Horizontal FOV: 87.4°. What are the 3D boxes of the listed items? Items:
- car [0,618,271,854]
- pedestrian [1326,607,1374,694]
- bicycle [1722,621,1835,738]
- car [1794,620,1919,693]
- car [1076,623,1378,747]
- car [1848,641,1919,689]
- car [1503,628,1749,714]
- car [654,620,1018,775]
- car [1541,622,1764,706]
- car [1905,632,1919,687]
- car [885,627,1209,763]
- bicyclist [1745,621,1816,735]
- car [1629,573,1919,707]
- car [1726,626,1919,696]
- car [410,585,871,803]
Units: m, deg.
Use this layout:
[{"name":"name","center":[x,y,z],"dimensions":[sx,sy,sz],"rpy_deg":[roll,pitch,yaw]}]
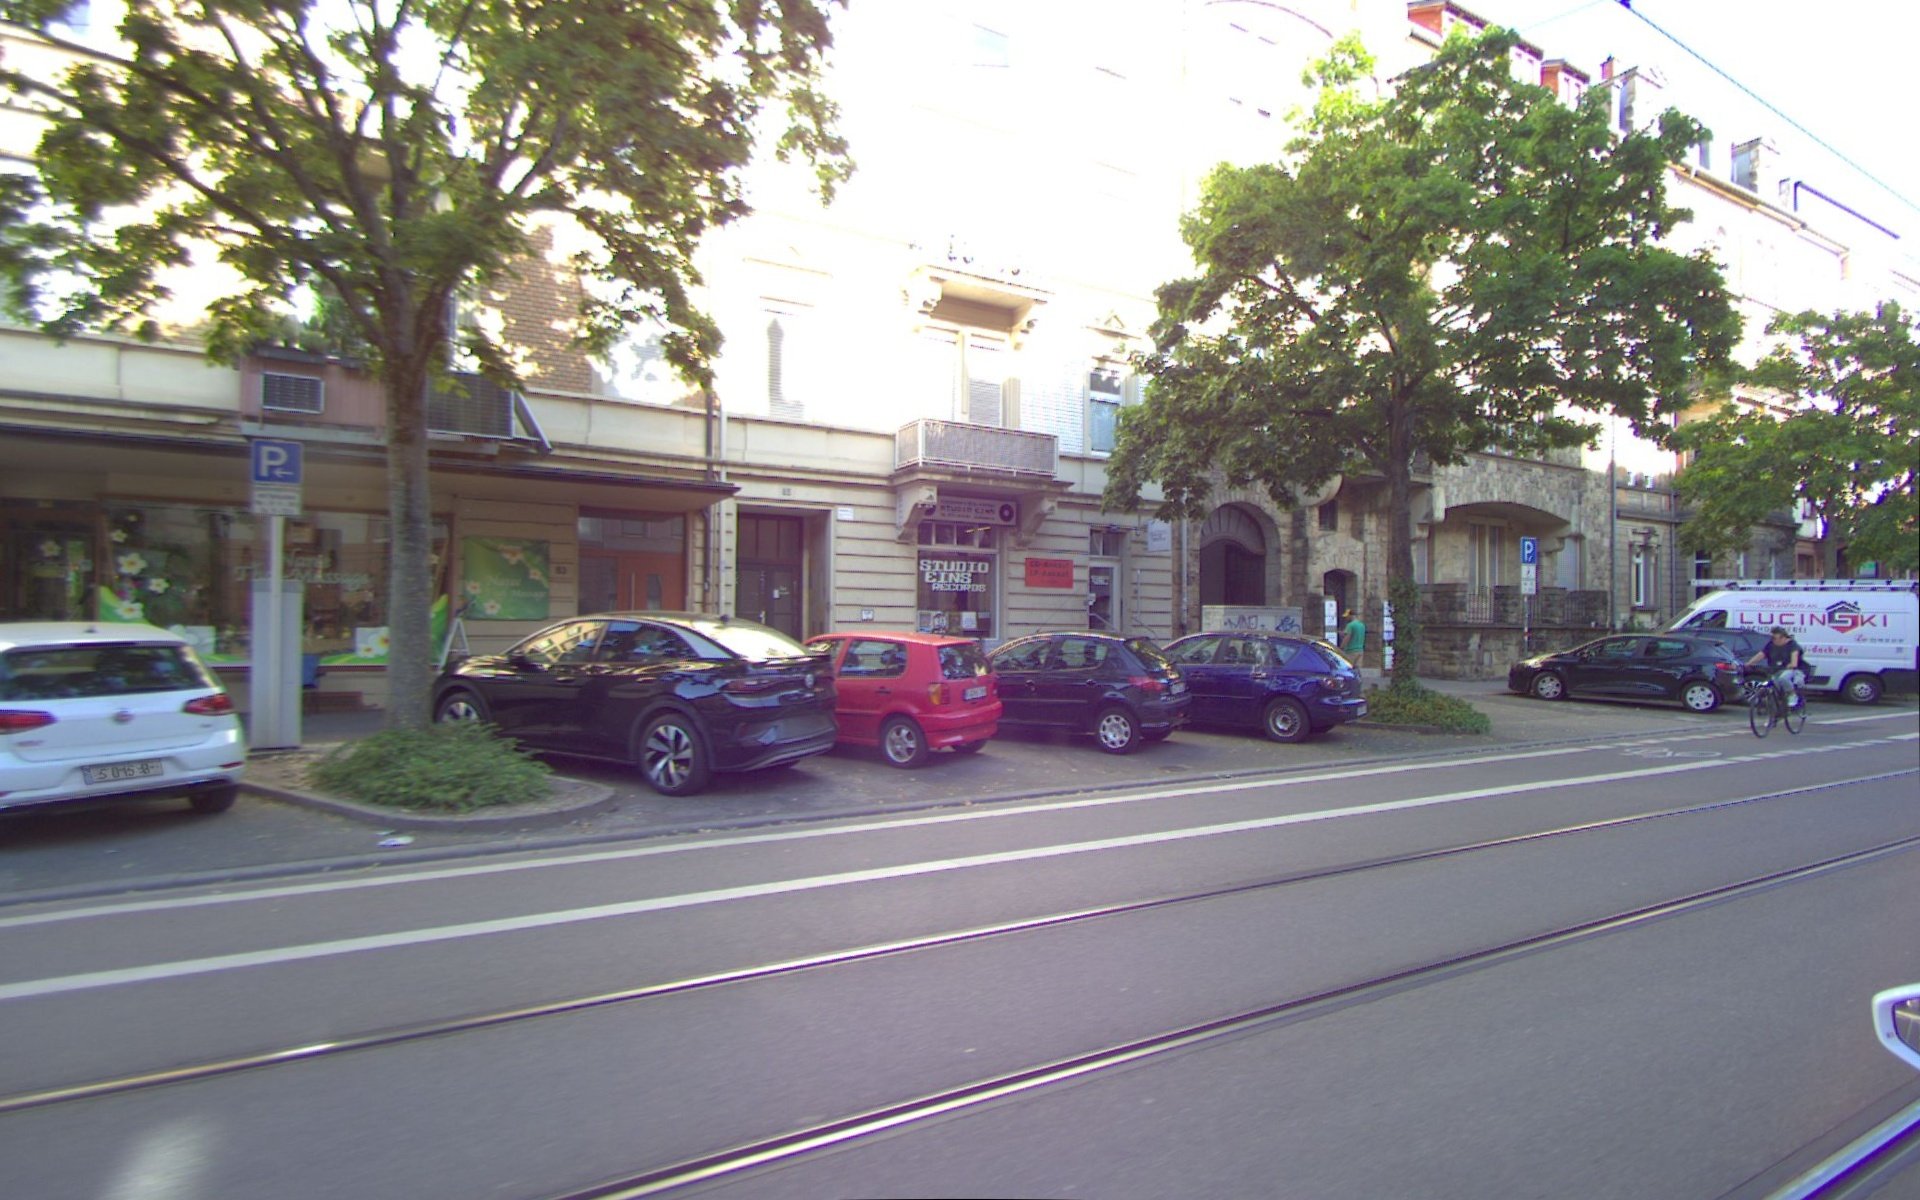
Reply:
[{"name":"car","center":[-7.282,0.894,7.957],"dimensions":[3.780,1.448,1.761],"rpy_deg":[0,-1,35]},{"name":"pedestrian","center":[8.084,1.038,20.814],"dimensions":[0.753,1.749,0.575],"rpy_deg":[1,-1,-31]},{"name":"bicycle","center":[12.630,1.196,15.480],"dimensions":[2.072,1.701,0.677],"rpy_deg":[2,-1,-30]},{"name":"car","center":[24.926,1.503,26.807],"dimensions":[3.934,1.841,1.707],"rpy_deg":[0,-1,35]},{"name":"car","center":[3.869,1.139,14.726],"dimensions":[3.931,1.509,1.802],"rpy_deg":[0,-1,33]},{"name":"car","center":[27.687,1.866,28.351],"dimensions":[3.746,1.282,1.512],"rpy_deg":[0,-1,35]},{"name":"car","center":[13.532,1.375,20.538],"dimensions":[3.945,1.509,1.795],"rpy_deg":[0,-1,44]},{"name":"car","center":[-1.490,1.035,11.952],"dimensions":[3.927,1.509,1.865],"rpy_deg":[1,-1,28]},{"name":"car","center":[15.211,1.348,22.253],"dimensions":[3.934,1.639,1.707],"rpy_deg":[0,-1,35]},{"name":"car","center":[30.557,1.802,29.696],"dimensions":[3.678,1.644,1.781],"rpy_deg":[0,-1,39]},{"name":"car","center":[1.151,1.161,13.451],"dimensions":[3.927,1.509,1.804],"rpy_deg":[1,-1,28]},{"name":"bicyclist","center":[12.636,1.177,15.471],"dimensions":[0.718,1.703,0.631],"rpy_deg":[1,-1,-30]},{"name":"car","center":[18.486,0.836,22.849],"dimensions":[5.293,2.785,1.802],"rpy_deg":[0,-1,31]},{"name":"car","center":[22.541,1.518,25.504],"dimensions":[4.684,1.639,1.710],"rpy_deg":[1,-1,28]},{"name":"car","center":[-3.272,0.795,10.243],"dimensions":[4.286,1.806,1.994],"rpy_deg":[1,-1,27]}]
